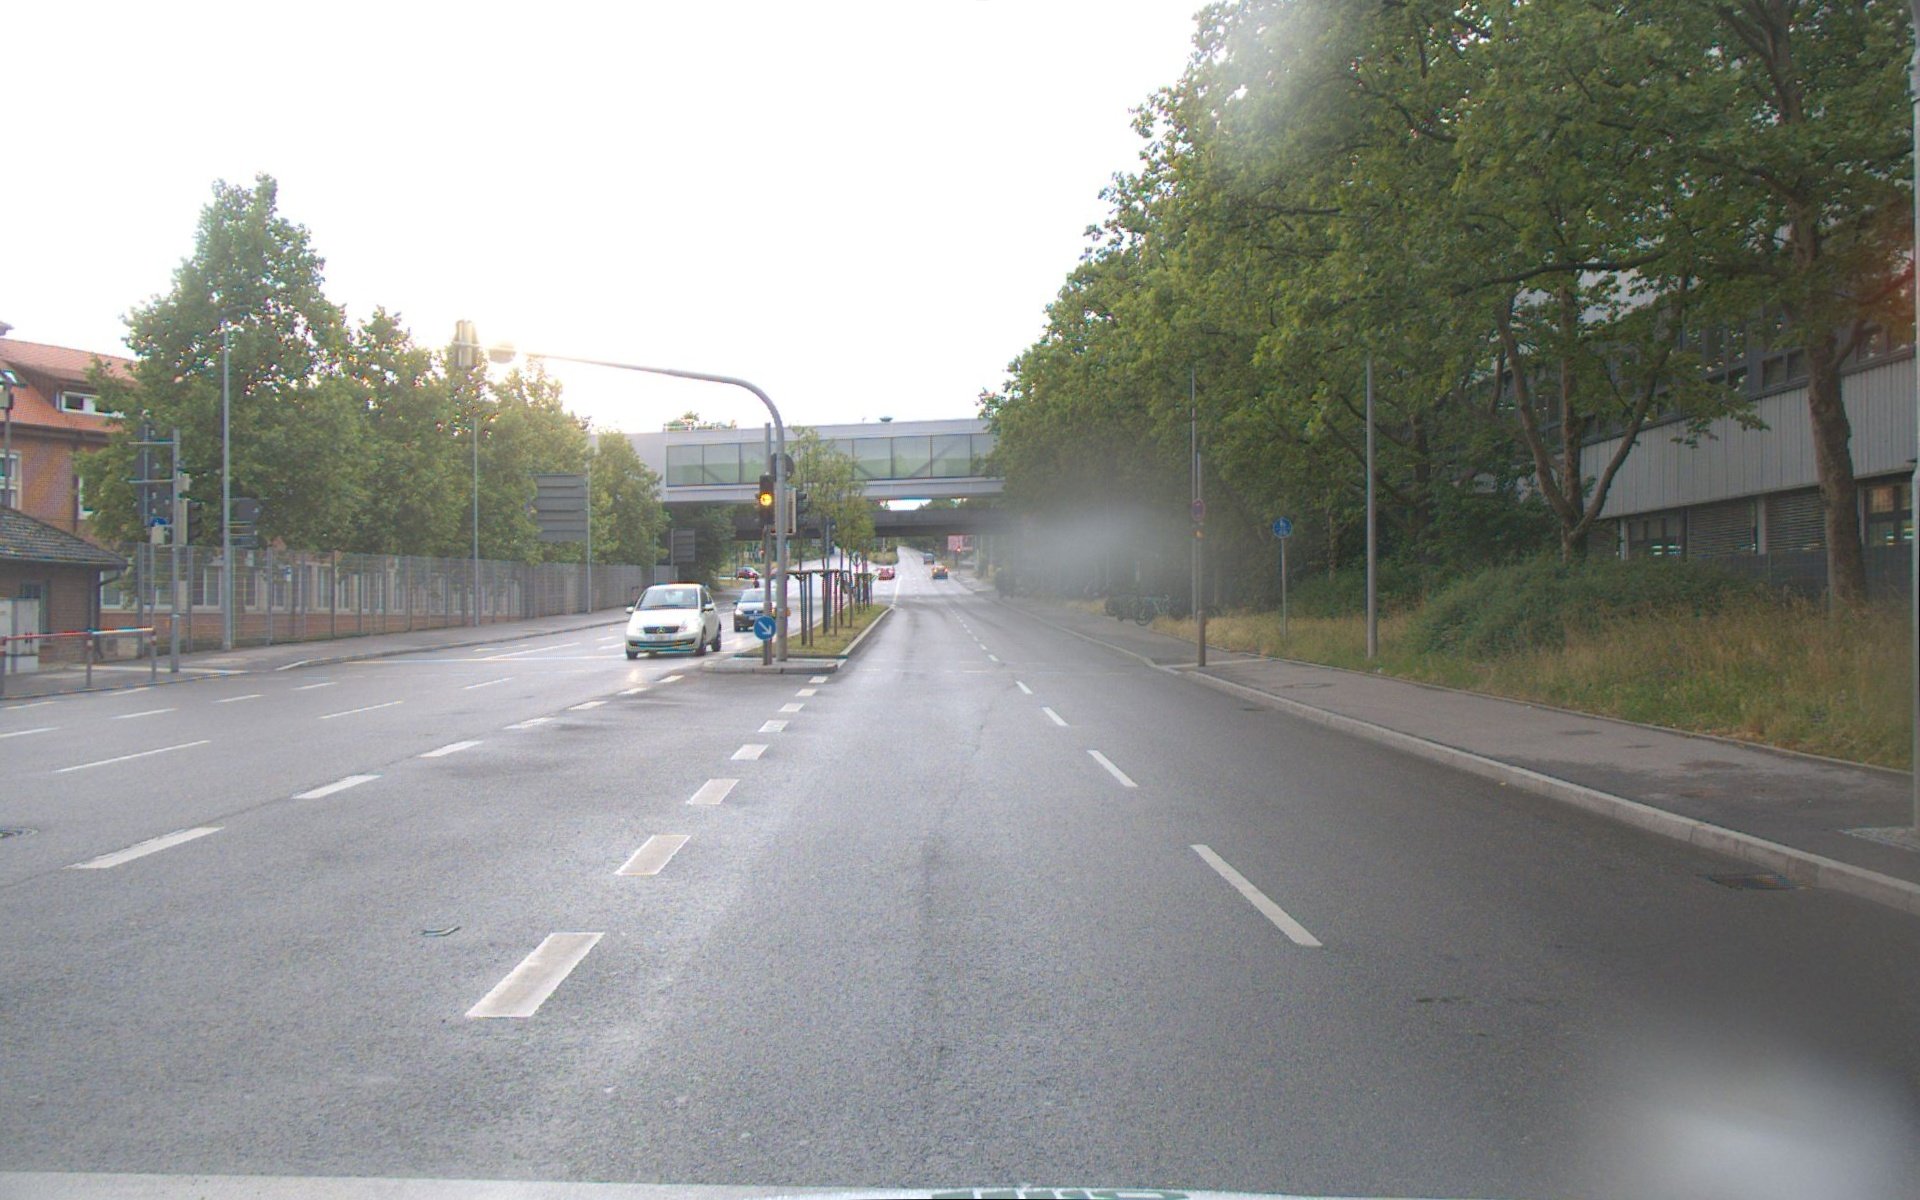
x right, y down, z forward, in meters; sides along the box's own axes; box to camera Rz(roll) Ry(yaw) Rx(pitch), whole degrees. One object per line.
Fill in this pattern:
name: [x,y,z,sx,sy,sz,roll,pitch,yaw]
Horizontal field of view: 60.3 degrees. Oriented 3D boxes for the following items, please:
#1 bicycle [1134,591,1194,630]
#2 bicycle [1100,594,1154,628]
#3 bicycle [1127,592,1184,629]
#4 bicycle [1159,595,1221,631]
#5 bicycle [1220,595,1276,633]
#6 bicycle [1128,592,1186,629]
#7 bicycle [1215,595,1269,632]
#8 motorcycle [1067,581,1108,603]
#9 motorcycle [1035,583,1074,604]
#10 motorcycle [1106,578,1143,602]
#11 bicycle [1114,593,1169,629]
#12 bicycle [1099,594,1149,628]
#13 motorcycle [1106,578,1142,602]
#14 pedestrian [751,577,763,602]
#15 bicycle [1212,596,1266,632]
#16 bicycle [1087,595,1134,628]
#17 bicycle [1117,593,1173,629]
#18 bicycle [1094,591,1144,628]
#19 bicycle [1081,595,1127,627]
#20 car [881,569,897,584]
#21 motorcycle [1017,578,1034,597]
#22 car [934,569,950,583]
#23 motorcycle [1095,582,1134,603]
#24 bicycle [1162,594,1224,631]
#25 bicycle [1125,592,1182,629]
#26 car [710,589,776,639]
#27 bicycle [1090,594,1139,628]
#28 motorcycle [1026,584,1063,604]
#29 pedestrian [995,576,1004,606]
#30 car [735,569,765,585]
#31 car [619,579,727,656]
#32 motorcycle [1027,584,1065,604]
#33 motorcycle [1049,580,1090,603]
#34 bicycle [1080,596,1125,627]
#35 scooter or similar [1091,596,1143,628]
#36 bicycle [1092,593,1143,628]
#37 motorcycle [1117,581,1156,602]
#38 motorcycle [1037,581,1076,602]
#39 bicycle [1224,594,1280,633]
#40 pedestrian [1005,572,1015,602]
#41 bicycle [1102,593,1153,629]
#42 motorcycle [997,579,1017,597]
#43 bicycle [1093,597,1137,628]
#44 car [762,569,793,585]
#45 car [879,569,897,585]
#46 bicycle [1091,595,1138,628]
bicycle: [6.901,0.355,55.974,1.949,1.237,0.541,2,-1,0]
bicycle: [6.384,0.421,63.247,1.949,1.263,0.541,2,-1,0]
bicycle: [6.938,0.380,58.787,1.949,1.263,0.541,2,-1,0]
bicycle: [7.590,0.420,54.525,1.949,1.114,0.541,2,-1,0]
bicycle: [10.799,0.516,62.089,1.949,1.352,0.576,2,-1,0]
bicycle: [6.933,0.376,58.163,1.949,1.255,0.541,2,-1,0]
bicycle: [10.794,0.533,63.402,1.949,1.352,0.576,2,-1,0]
motorcycle: [7.482,-0.475,96.905,2.318,1.223,0.723,-1,0,7]
motorcycle: [5.705,-0.381,99.845,2.318,1.223,0.723,-1,0,7]
motorcycle: [10.686,-0.643,107.195,2.318,1.502,0.723,-1,0,7]
bicycle: [6.794,0.416,61.879,1.949,1.263,0.541,2,-1,0]
bicycle: [6.786,0.458,68.498,1.949,1.352,0.576,2,-1,0]
motorcycle: [10.772,-0.669,108.431,2.318,1.502,0.723,-1,0,7]
pedestrian: [-16.746,-0.838,136.509,0.854,2.039,0.855,-1,0,0]
bicycle: [10.795,0.541,64.070,1.949,1.352,0.576,2,-1,0]
bicycle: [6.479,0.483,71.132,1.923,1.352,0.654,2,-1,0]
bicycle: [6.812,0.404,60.931,1.949,1.263,0.541,2,-1,0]
bicycle: [6.505,0.386,67.641,1.949,1.455,0.723,2,-1,0]
bicycle: [6.339,0.500,72.731,1.923,1.352,0.654,2,-1,0]
car: [-9.060,-2.998,211.049,1.846,1.792,3.968,2,-1,-1]
motorcycle: [4.797,-0.925,122.127,0.775,1.334,2.371,-1,0,-9]
car: [-2.220,-2.907,202.987,1.837,1.523,4.067,2,-1,-1]
motorcycle: [9.368,-0.462,100.359,2.318,1.223,0.723,-1,0,7]
bicycle: [7.597,0.413,53.956,1.949,1.114,0.541,2,-1,0]
bicycle: [6.937,0.388,59.368,1.949,1.263,0.541,2,-1,0]
car: [-7.541,0.475,57.797,1.839,1.653,3.778,-1,0,-1]
bicycle: [6.455,0.469,69.204,1.949,1.352,0.576,2,-1,0]
motorcycle: [5.523,-0.404,108.119,2.318,1.223,0.793,-1,0,7]
pedestrian: [2.701,-0.594,113.152,0.609,2.049,0.605,-1,0,-1]
car: [-27.926,-3.031,220.117,1.985,2.049,3.935,3,-1,-44]
car: [-6.517,0.376,37.904,1.839,1.653,3.778,-1,0,-1]
motorcycle: [5.532,-0.362,106.235,2.318,1.223,0.723,-1,0,7]
motorcycle: [6.302,-0.492,95.268,2.318,1.223,0.723,-1,0,7]
bicycle: [6.394,0.524,74.450,1.923,1.352,0.654,2,-1,0]
scooter or similar: [6.081,0.459,64.034,1.949,1.157,0.541,2,-1,0]
bicycle: [6.263,0.420,65.960,1.949,1.352,0.576,2,-1,0]
motorcycle: [10.589,-0.510,99.087,2.318,1.223,0.723,-1,0,7]
motorcycle: [5.909,-0.502,101.620,2.318,1.223,0.723,-1,0,7]
bicycle: [10.829,0.507,61.325,1.949,1.352,0.576,2,-1,0]
pedestrian: [3.396,-0.882,112.910,0.609,2.049,0.605,-1,0,-1]
bicycle: [6.592,0.421,65.156,1.949,1.352,0.576,2,-1,0]
motorcycle: [3.560,-0.879,125.436,0.778,1.334,2.364,-1,0,-19]
bicycle: [7.097,0.566,75.963,1.923,1.352,0.654,2,-1,0]
car: [-23.669,-2.965,214.662,1.985,2.049,3.935,3,-1,-44]
car: [-8.987,-2.847,206.489,1.953,1.792,3.999,2,-1,-1]
bicycle: [6.574,0.477,70.443,1.920,1.352,0.576,2,-1,0]
